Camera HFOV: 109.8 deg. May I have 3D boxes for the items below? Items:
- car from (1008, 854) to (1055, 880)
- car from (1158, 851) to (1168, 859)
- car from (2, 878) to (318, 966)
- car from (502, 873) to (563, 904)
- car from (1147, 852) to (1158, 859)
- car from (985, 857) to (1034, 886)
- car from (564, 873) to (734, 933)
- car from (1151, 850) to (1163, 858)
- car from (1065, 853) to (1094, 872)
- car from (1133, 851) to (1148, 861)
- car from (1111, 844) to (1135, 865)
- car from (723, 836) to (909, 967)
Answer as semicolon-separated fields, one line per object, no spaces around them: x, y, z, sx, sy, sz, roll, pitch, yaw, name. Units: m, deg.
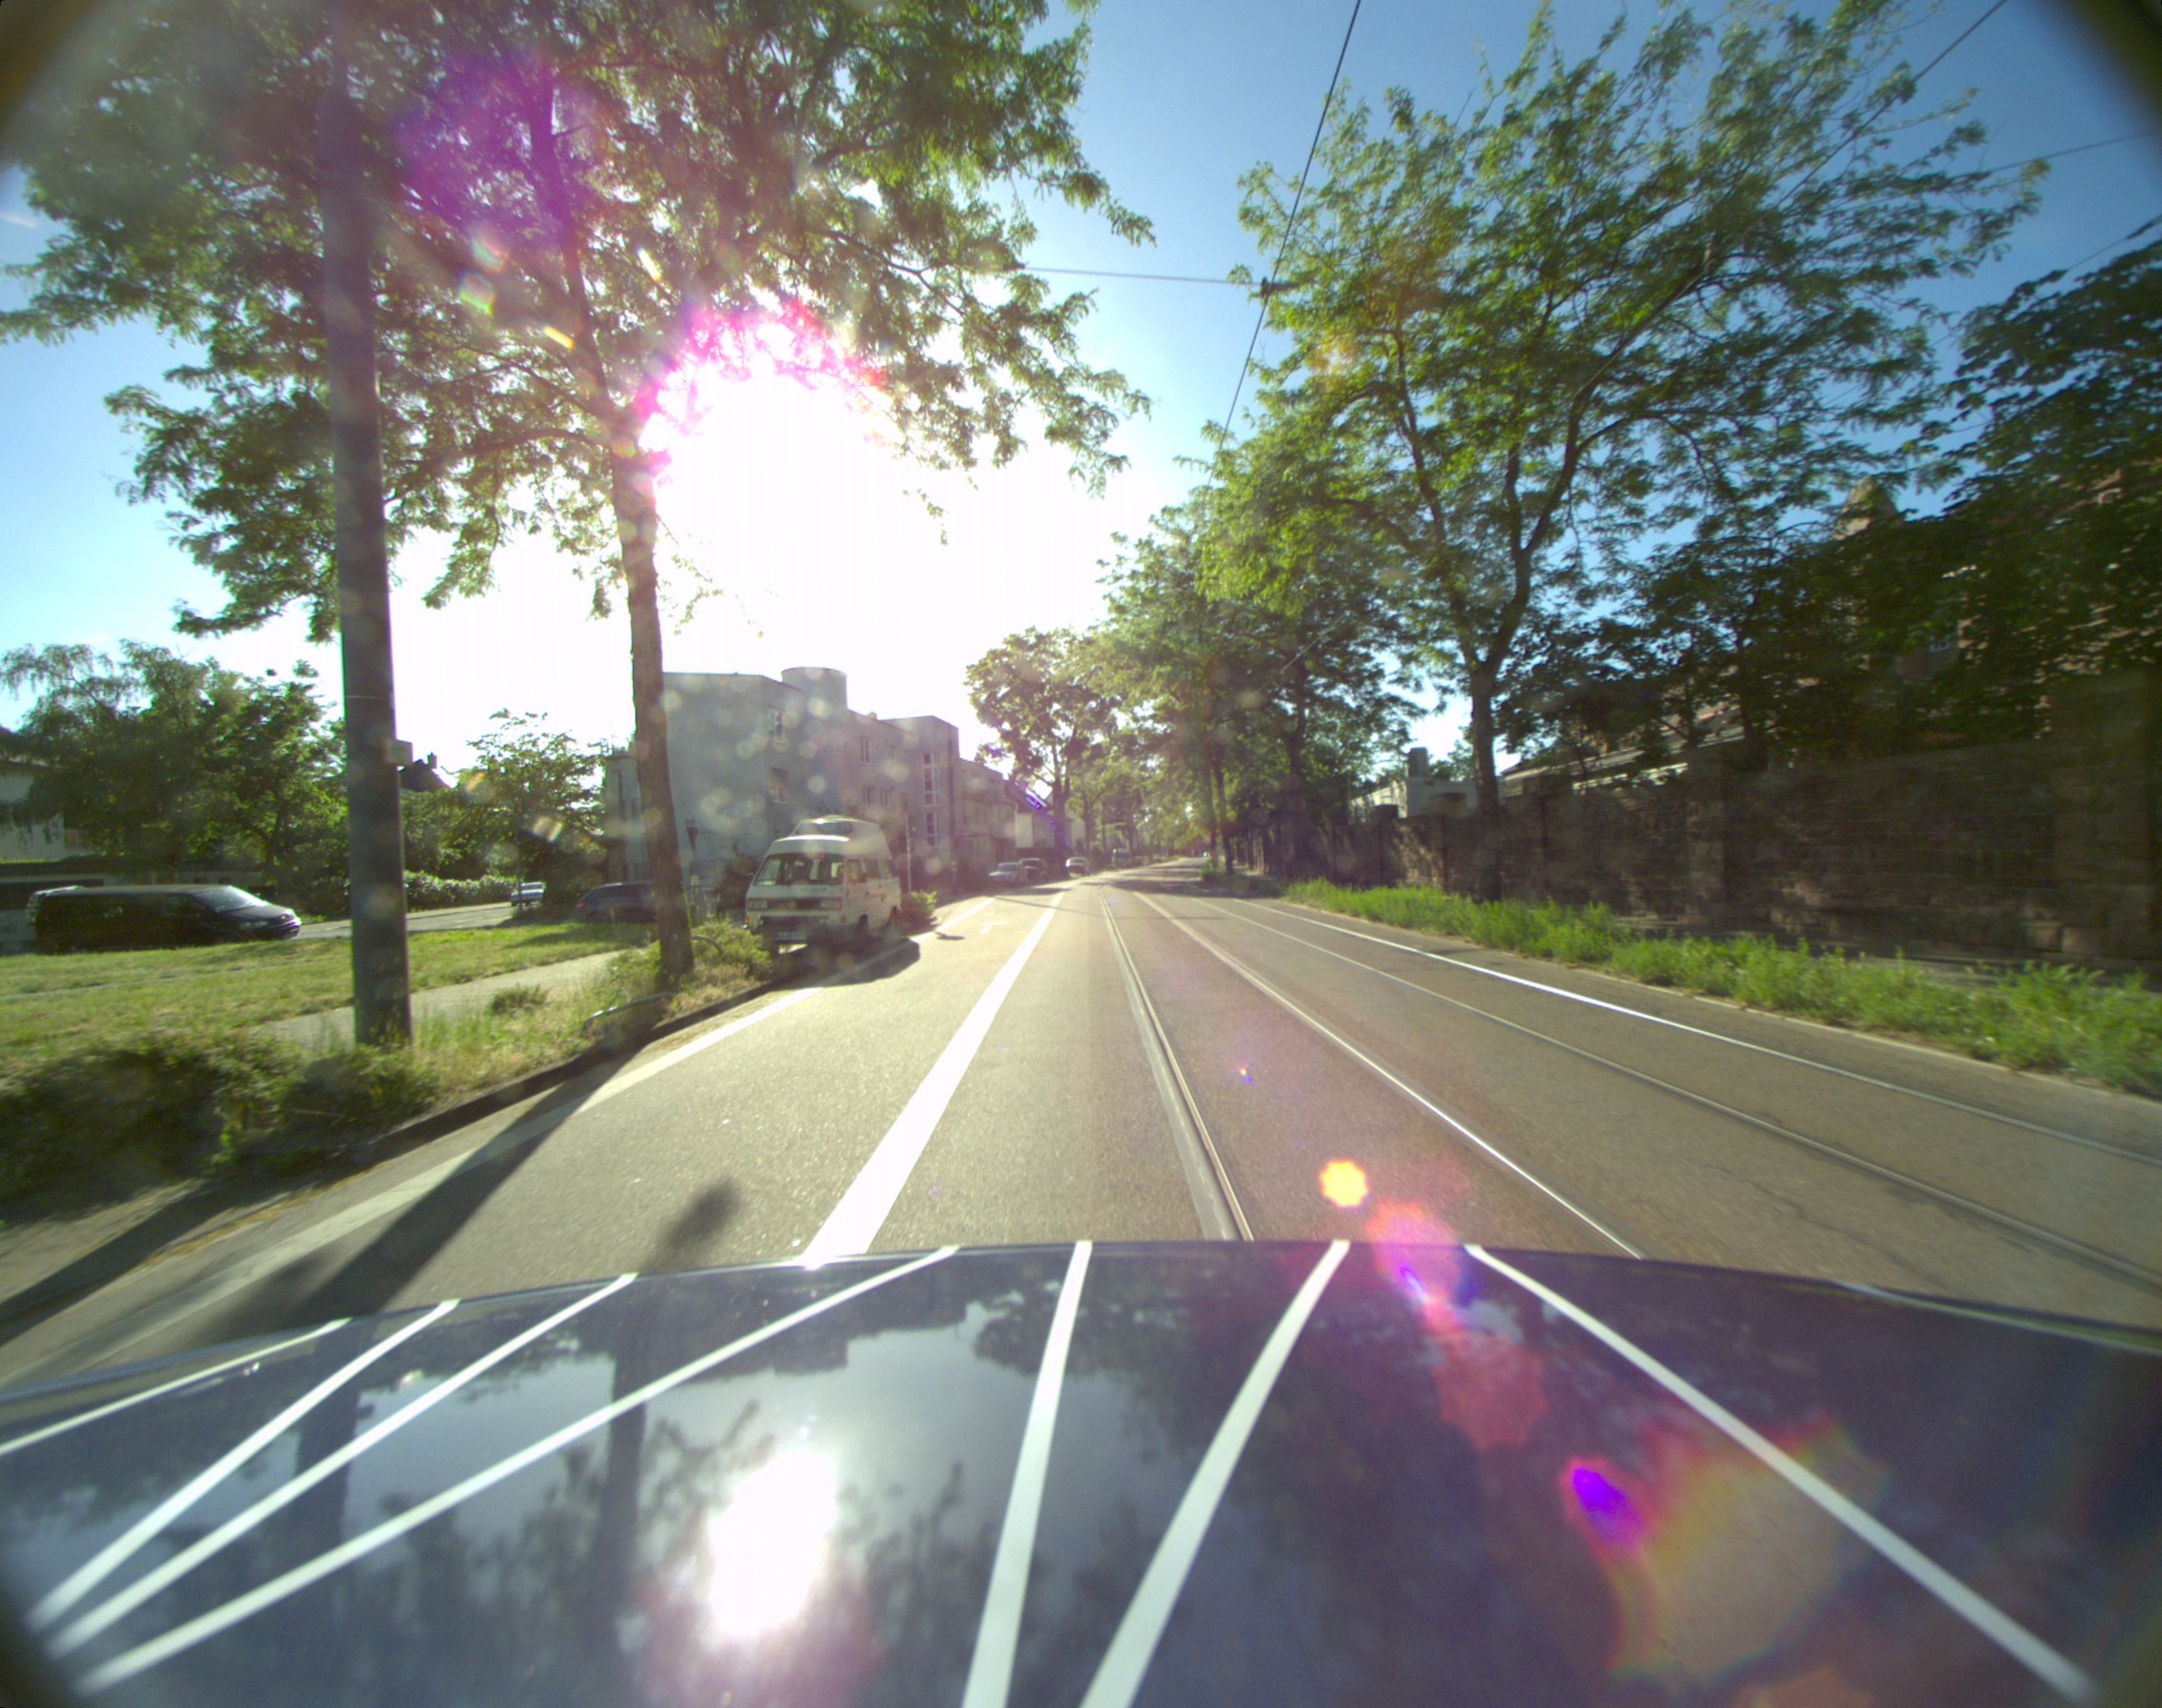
-3.262;0.841;51.182;1.997;1.607;4.604;-1;1;11;car
17.921;0.166;165.949;1.997;1.411;4.001;-2;3;10;car
-25.288;1.792;21.171;5.216;1.874;2.097;-3;1;-17;car
-36.200;2.235;50.292;2.001;1.756;4.264;-2;0;-18;car
13.604;0.285;144.985;1.787;1.368;3.657;-3;1;10;car
-4.208;0.995;45.508;1.741;1.487;4.533;-3;1;10;car
-13.995;1.547;24.950;4.466;1.482;2.005;-2;4;-17;car
15.498;0.066;154.210;1.997;1.474;4.003;-2;0;10;car
-0.111;0.713;68.366;1.879;1.509;4.651;-3;0;8;car
9.507;0.351;121.221;1.662;1.527;4.004;-2;0;14;car
5.589;-0.020;100.031;2.295;2.575;5.722;-3;1;10;car
-4.914;0.784;14.929;1.999;2.083;4.716;-2;0;-1;car
